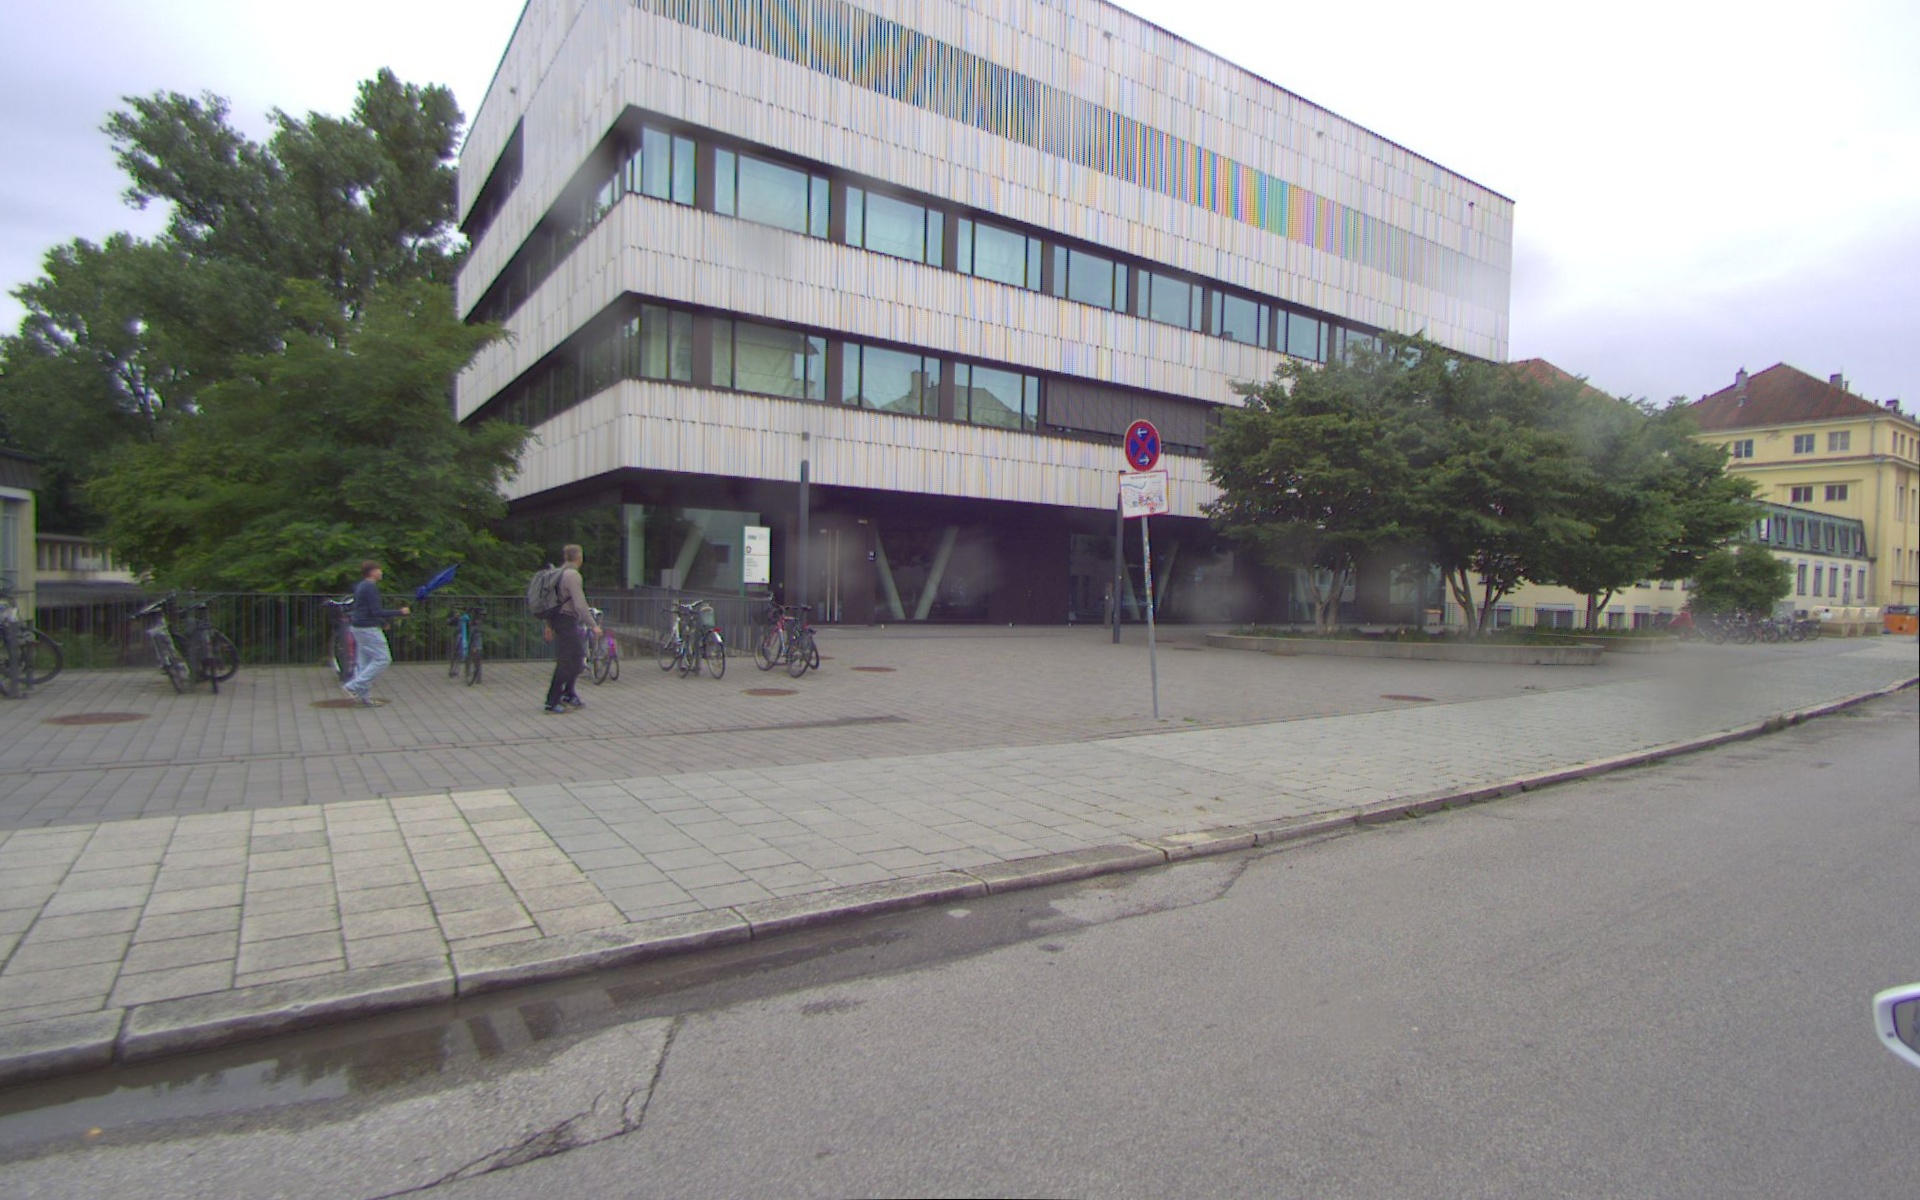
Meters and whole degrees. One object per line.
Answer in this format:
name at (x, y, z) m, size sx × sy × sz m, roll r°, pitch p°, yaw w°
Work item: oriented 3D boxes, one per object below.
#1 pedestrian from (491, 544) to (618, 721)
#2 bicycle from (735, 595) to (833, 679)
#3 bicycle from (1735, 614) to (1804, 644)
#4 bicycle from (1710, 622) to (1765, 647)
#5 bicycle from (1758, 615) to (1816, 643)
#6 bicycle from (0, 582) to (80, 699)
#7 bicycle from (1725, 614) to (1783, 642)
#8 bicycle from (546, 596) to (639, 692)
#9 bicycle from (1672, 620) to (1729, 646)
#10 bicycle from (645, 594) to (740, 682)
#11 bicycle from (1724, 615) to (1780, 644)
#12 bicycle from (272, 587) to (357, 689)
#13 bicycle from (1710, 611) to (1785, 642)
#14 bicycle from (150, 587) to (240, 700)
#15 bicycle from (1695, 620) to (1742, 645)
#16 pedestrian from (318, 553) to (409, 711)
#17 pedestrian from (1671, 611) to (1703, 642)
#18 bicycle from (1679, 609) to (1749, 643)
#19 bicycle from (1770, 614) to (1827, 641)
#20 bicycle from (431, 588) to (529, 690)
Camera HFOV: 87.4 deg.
pedestrian at (-4.419, 0.331, 10.955) m, size 0.778 × 1.806 × 1.009 m, roll 4°, pitch 2°, yaw 43°
bicycle at (-2.780, 0.544, 15.685) m, size 0.611 × 1.126 × 2.029 m, roll -1°, pitch 4°, yaw -38°
bicycle at (35.905, 1.255, 44.577) m, size 0.575 × 1.150 × 2.298 m, roll 0°, pitch 3°, yaw -31°
bicycle at (32.399, 1.429, 41.885) m, size 0.588 × 0.929 × 1.666 m, roll 0°, pitch 3°, yaw -31°
bicycle at (37.986, 1.310, 46.150) m, size 0.566 × 1.147 × 1.946 m, roll 0°, pitch 3°, yaw -31°
bicycle at (-10.379, 0.401, 11.191) m, size 0.610 × 1.126 × 2.032 m, roll 0°, pitch 3°, yaw -34°
bicycle at (34.647, 1.210, 43.862) m, size 0.533 × 1.043 × 1.857 m, roll 0°, pitch 3°, yaw -31°
bicycle at (-5.080, 0.556, 13.799) m, size 0.611 × 1.126 × 2.029 m, roll -1°, pitch 4°, yaw -38°
bicycle at (28.939, 1.264, 39.277) m, size 0.435 × 0.874 × 1.707 m, roll 0°, pitch 3°, yaw -34°
bicycle at (-4.006, 0.527, 14.947) m, size 0.611 × 1.126 × 2.029 m, roll -1°, pitch 4°, yaw -38°
bicycle at (33.620, 1.244, 42.664) m, size 0.501 × 1.047 × 1.781 m, roll 0°, pitch 3°, yaw -31°
bicycle at (-8.348, 0.444, 12.952) m, size 0.612 × 1.126 × 2.026 m, roll -1°, pitch 4°, yaw -42°
bicycle at (34.014, 1.137, 43.446) m, size 0.419 × 1.222 × 2.540 m, roll 0°, pitch 1°, yaw -31°
bicycle at (-8.896, 0.455, 11.742) m, size 0.610 × 1.126 × 2.034 m, roll 0°, pitch 3°, yaw -31°
bicycle at (29.953, 1.279, 39.678) m, size 0.435 × 0.874 × 1.363 m, roll 0°, pitch 3°, yaw -34°
pedestrian at (-6.408, 0.321, 10.799) m, size 0.633 × 1.623 × 0.605 m, roll 3°, pitch 3°, yaw 30°
pedestrian at (29.152, 1.065, 40.294) m, size 1.030 × 1.179 × 0.713 m, roll -1°, pitch 4°, yaw -37°
bicycle at (30.854, 1.043, 41.145) m, size 0.778 × 1.244 × 2.093 m, roll 0°, pitch 3°, yaw -31°
bicycle at (39.302, 1.276, 47.099) m, size 0.670 × 1.107 × 1.894 m, roll 0°, pitch 3°, yaw -31°
bicycle at (-6.230, 0.459, 12.979) m, size 0.612 × 1.126 × 2.026 m, roll -1°, pitch 4°, yaw -42°
